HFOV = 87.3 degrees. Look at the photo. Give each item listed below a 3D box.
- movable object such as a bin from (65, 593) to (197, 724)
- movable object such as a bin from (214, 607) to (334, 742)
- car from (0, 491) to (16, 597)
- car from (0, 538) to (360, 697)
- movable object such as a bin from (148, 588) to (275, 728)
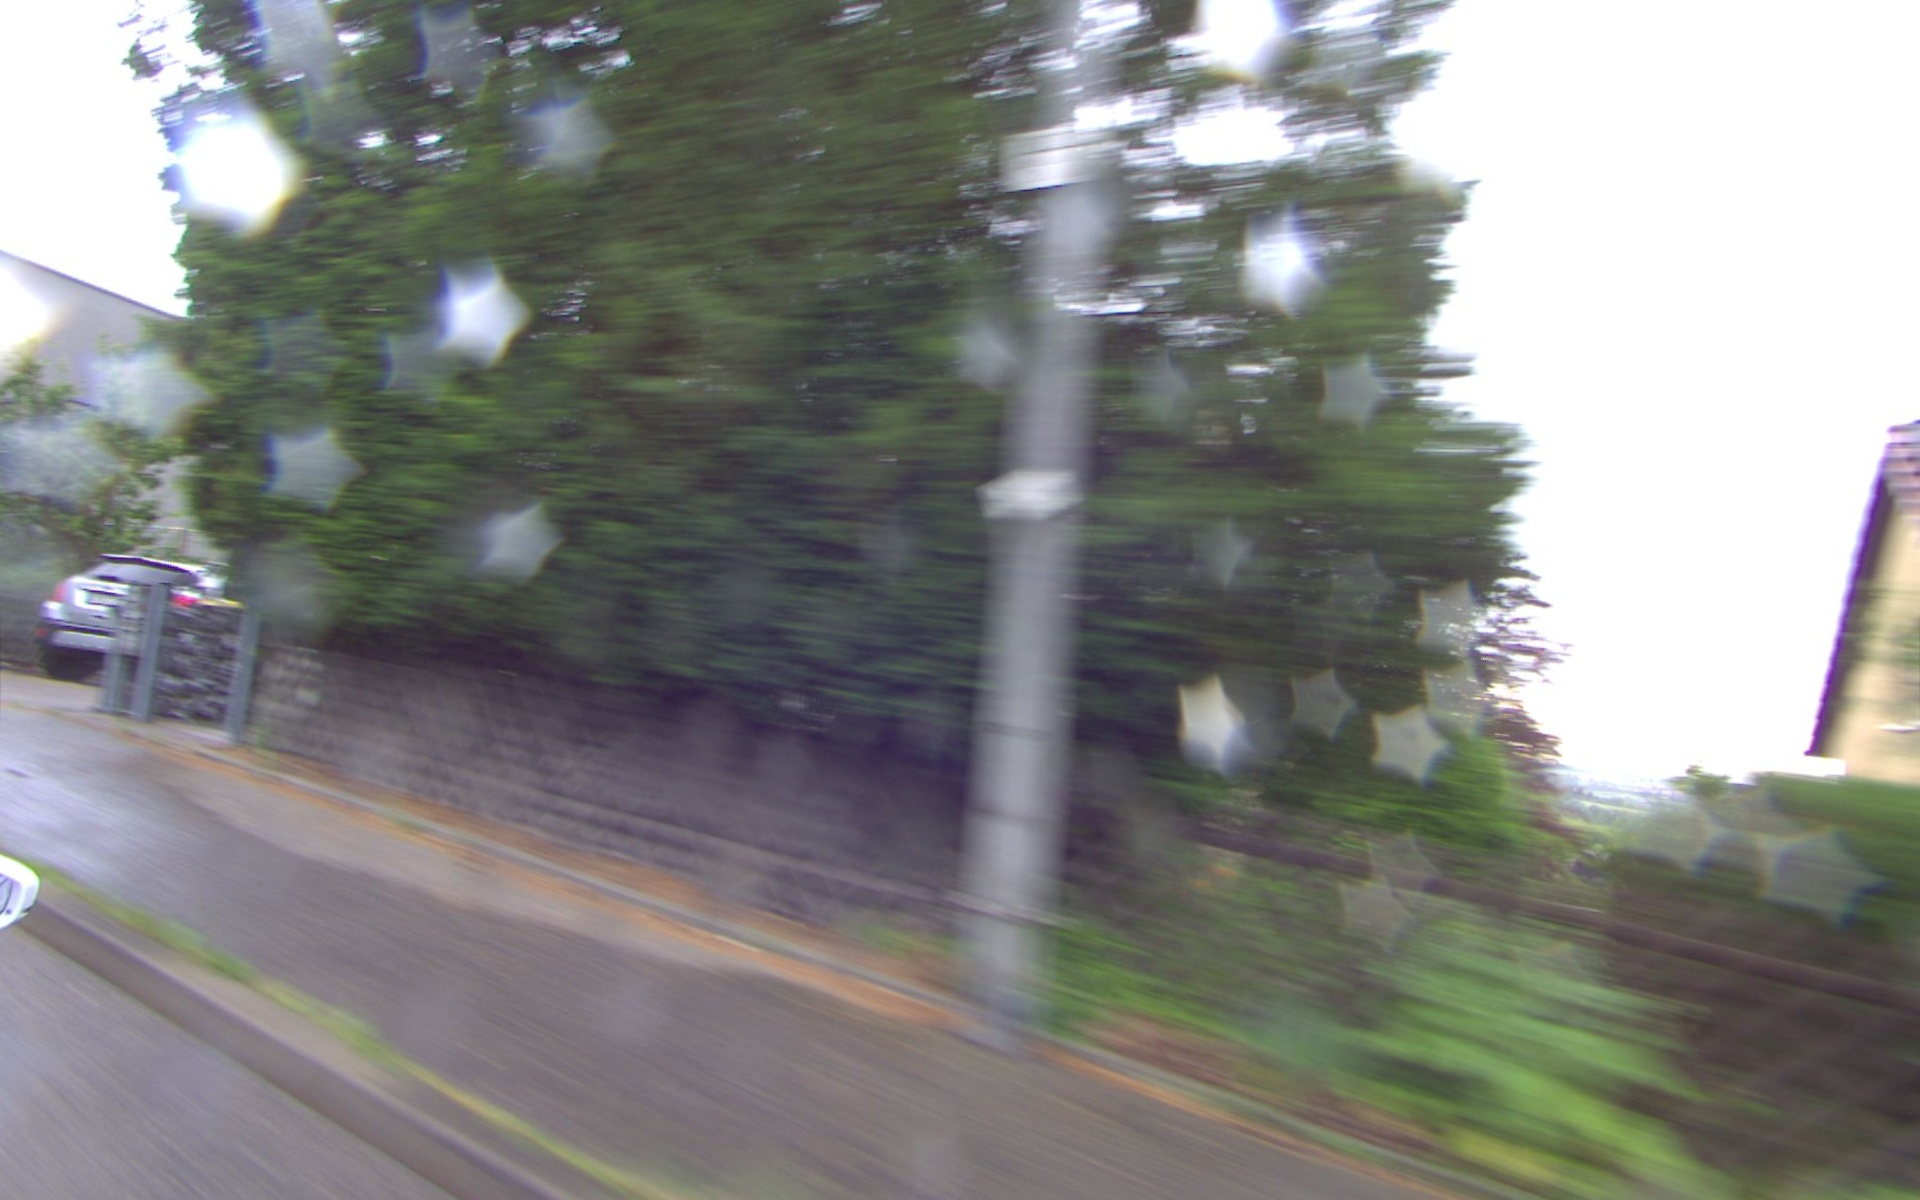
[{"bbox_3d":[-6.997,0.499,8.499,0.584,0.978,0.507,7,-6,25],"label":"movable object such as a bin"},{"bbox_3d":[-6.432,0.704,9.444,0.584,1.148,0.525,7,-5,25],"label":"movable object such as a bin"},{"bbox_3d":[-15.538,-0.974,14.328,3.362,1.514,1.631,6,2,19],"label":"car"},{"bbox_3d":[-10.092,0.308,13.389,1.743,1.679,3.779,4,-3,1],"label":"car"},{"bbox_3d":[-6.665,0.521,8.971,0.584,1.128,0.507,7,-5,25],"label":"movable object such as a bin"}]
